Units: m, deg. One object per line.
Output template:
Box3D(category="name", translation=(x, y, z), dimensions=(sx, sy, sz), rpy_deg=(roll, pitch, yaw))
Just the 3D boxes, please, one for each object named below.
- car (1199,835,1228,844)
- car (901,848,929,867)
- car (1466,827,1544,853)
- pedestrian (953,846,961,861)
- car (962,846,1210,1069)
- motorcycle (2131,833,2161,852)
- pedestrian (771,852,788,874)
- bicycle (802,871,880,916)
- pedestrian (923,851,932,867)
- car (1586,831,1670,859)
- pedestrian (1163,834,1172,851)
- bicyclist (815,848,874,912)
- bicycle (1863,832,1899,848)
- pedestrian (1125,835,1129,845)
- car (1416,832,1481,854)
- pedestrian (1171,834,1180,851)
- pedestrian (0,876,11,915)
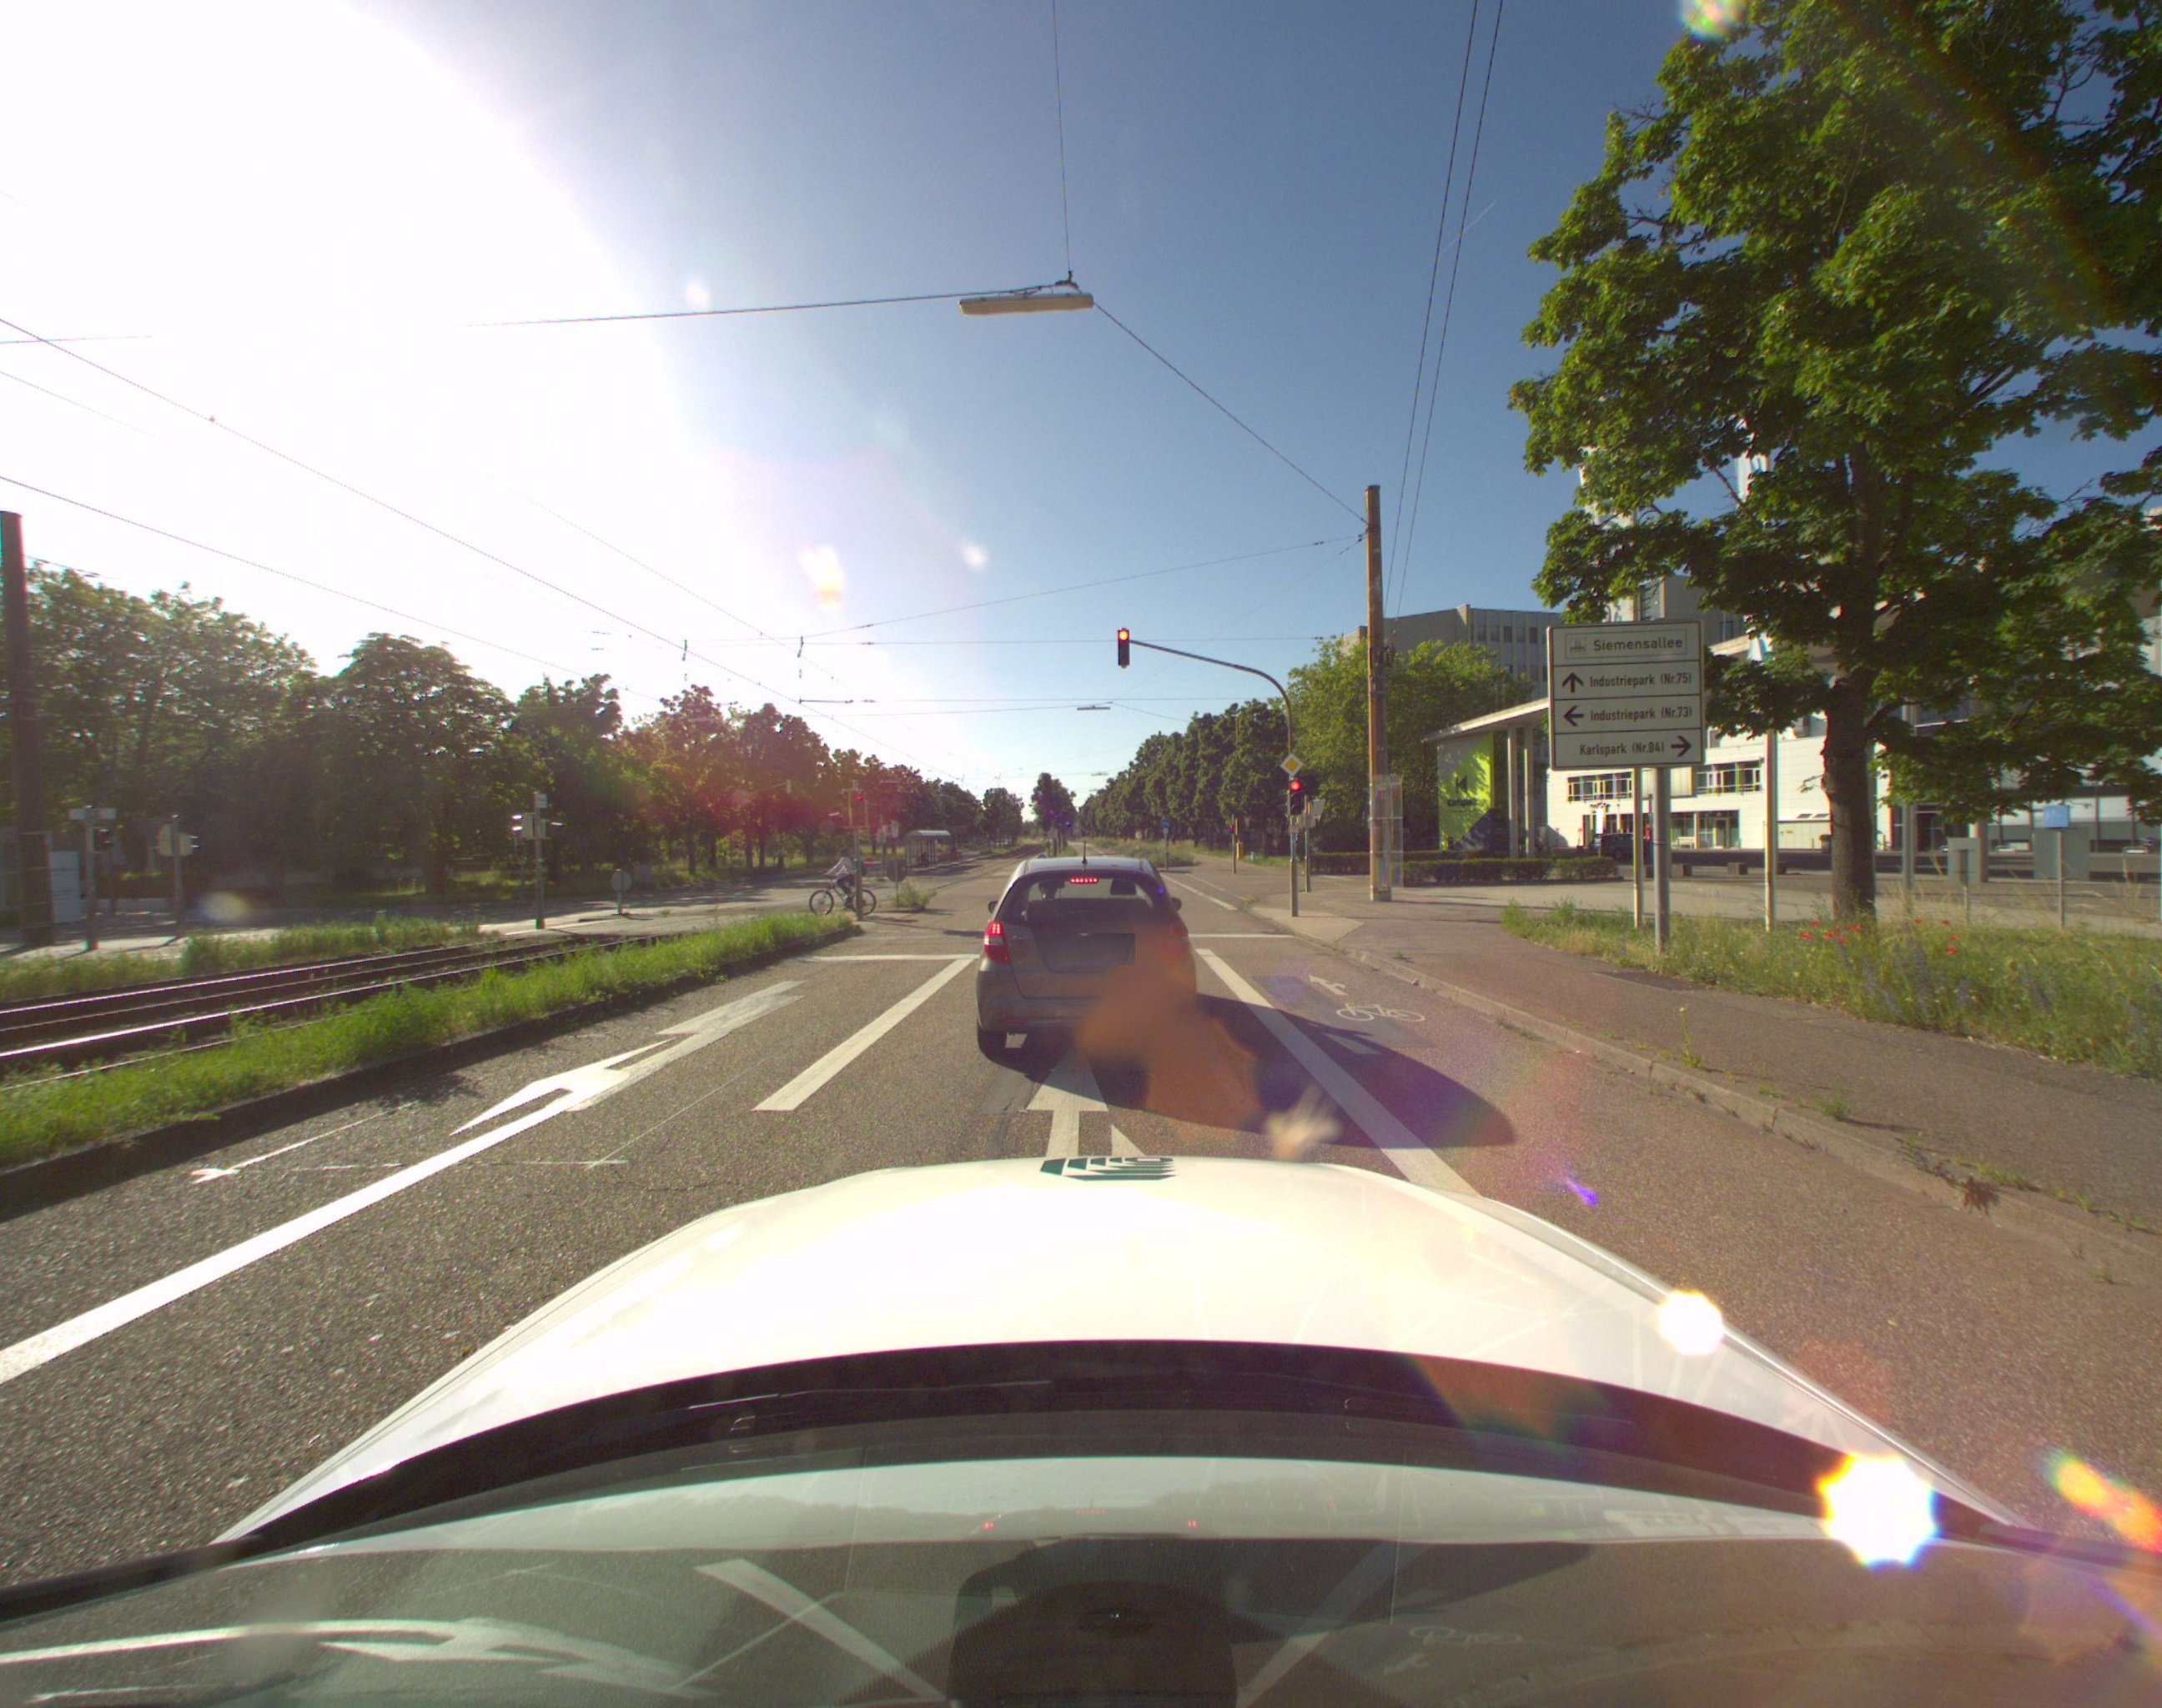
Box3D(category="car", translation=(23.463, -2.551, 144.242), dimensions=(4.623, 1.555, 1.997), rpy_deg=(-2, 1, -5))
Box3D(category="car", translation=(-18.193, 0.356, 89.448), dimensions=(2.087, 1.810, 4.792), rpy_deg=(-3, 1, 0))
Box3D(category="car", translation=(31.104, -1.047, 59.759), dimensions=(4.888, 1.757, 2.082), rpy_deg=(-2, 1, -14))
Box3D(category="pedestrian", translation=(-12.269, -0.049, 80.566), dimensions=(0.542, 1.447, 0.559), rpy_deg=(-2, 0, 1))
Box3D(category="car", translation=(0.094, 0.718, 7.490), dimensions=(1.694, 1.524, 3.711), rpy_deg=(-1, 0, 2))
Box3D(category="motorcycle", translation=(54.658, -0.584, 41.244), dimensions=(0.652, 0.947, 1.727), rpy_deg=(-2, 1, -13))
Box3D(category="pedestrian", translation=(-24.205, 0.697, 65.333), dimensions=(0.751, 1.734, 0.943), rpy_deg=(-1, 1, 30))
Box3D(category="bicycle", translation=(-6.102, 0.998, 20.777), dimensions=(1.769, 1.102, 0.699), rpy_deg=(-1, 0, 0))
Box3D(category="pedestrian", translation=(-12.448, 0.379, 65.997), dimensions=(0.562, 1.257, 0.581), rpy_deg=(-4, 0, 1))
Box3D(category="car", translation=(33.317, -0.566, 49.630), dimensions=(3.984, 1.578, 1.949), rpy_deg=(-1, 0, -8))
Box3D(category="pedestrian", translation=(10.048, -1.321, 94.802), dimensions=(0.880, 1.884, 0.875), rpy_deg=(-2, 1, -2))
Box3D(category="bicyclist", translation=(-6.042, 0.648, 20.828), dimensions=(1.228, 1.593, 0.805), rpy_deg=(-1, 0, 0))
Box3D(category="bicycle", translation=(52.267, -0.896, 53.231), dimensions=(0.565, 1.004, 1.614), rpy_deg=(-2, 1, -13))
Box3D(category="pedestrian", translation=(7.988, -2.394, 141.467), dimensions=(0.723, 1.690, 0.820), rpy_deg=(-1, -1, -1))
Box3D(category="car", translation=(30.042, -0.923, 66.652), dimensions=(4.448, 1.686, 1.892), rpy_deg=(-2, 1, -4))
Box3D(category="pedestrian", translation=(10.985, -1.328, 94.801), dimensions=(0.880, 1.884, 0.875), rpy_deg=(-2, 1, -2))
Box3D(category="pedestrian", translation=(-50.203, 1.925, 37.468), dimensions=(0.943, 1.787, 0.824), rpy_deg=(-2, 1, 15))
